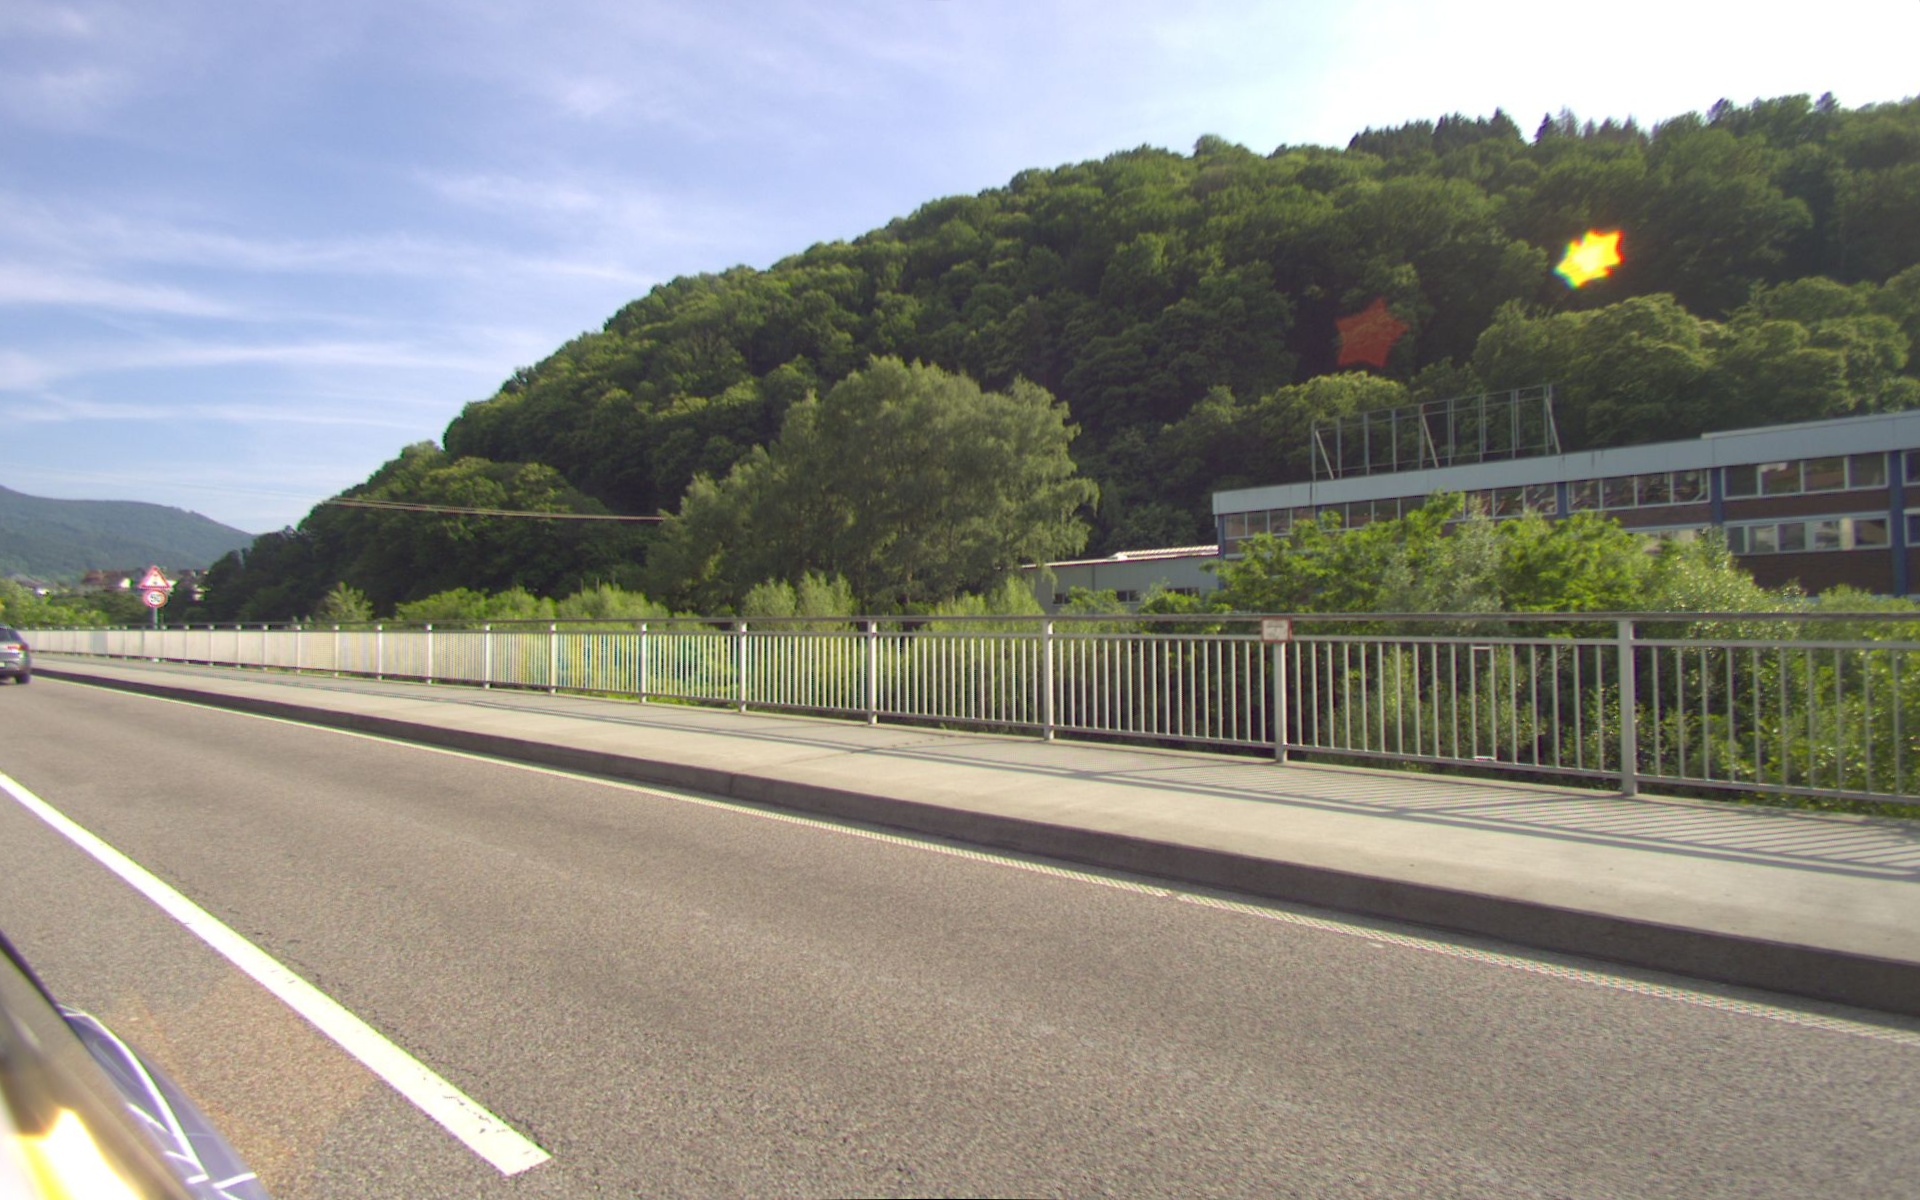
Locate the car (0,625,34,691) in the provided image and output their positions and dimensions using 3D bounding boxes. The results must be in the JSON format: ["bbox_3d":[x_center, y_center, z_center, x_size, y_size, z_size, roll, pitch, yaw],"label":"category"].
[{"bbox_3d":[-23.791,1.349,24.176,4.793,1.495,1.795,-2,-2,39],"label":"car"}]
